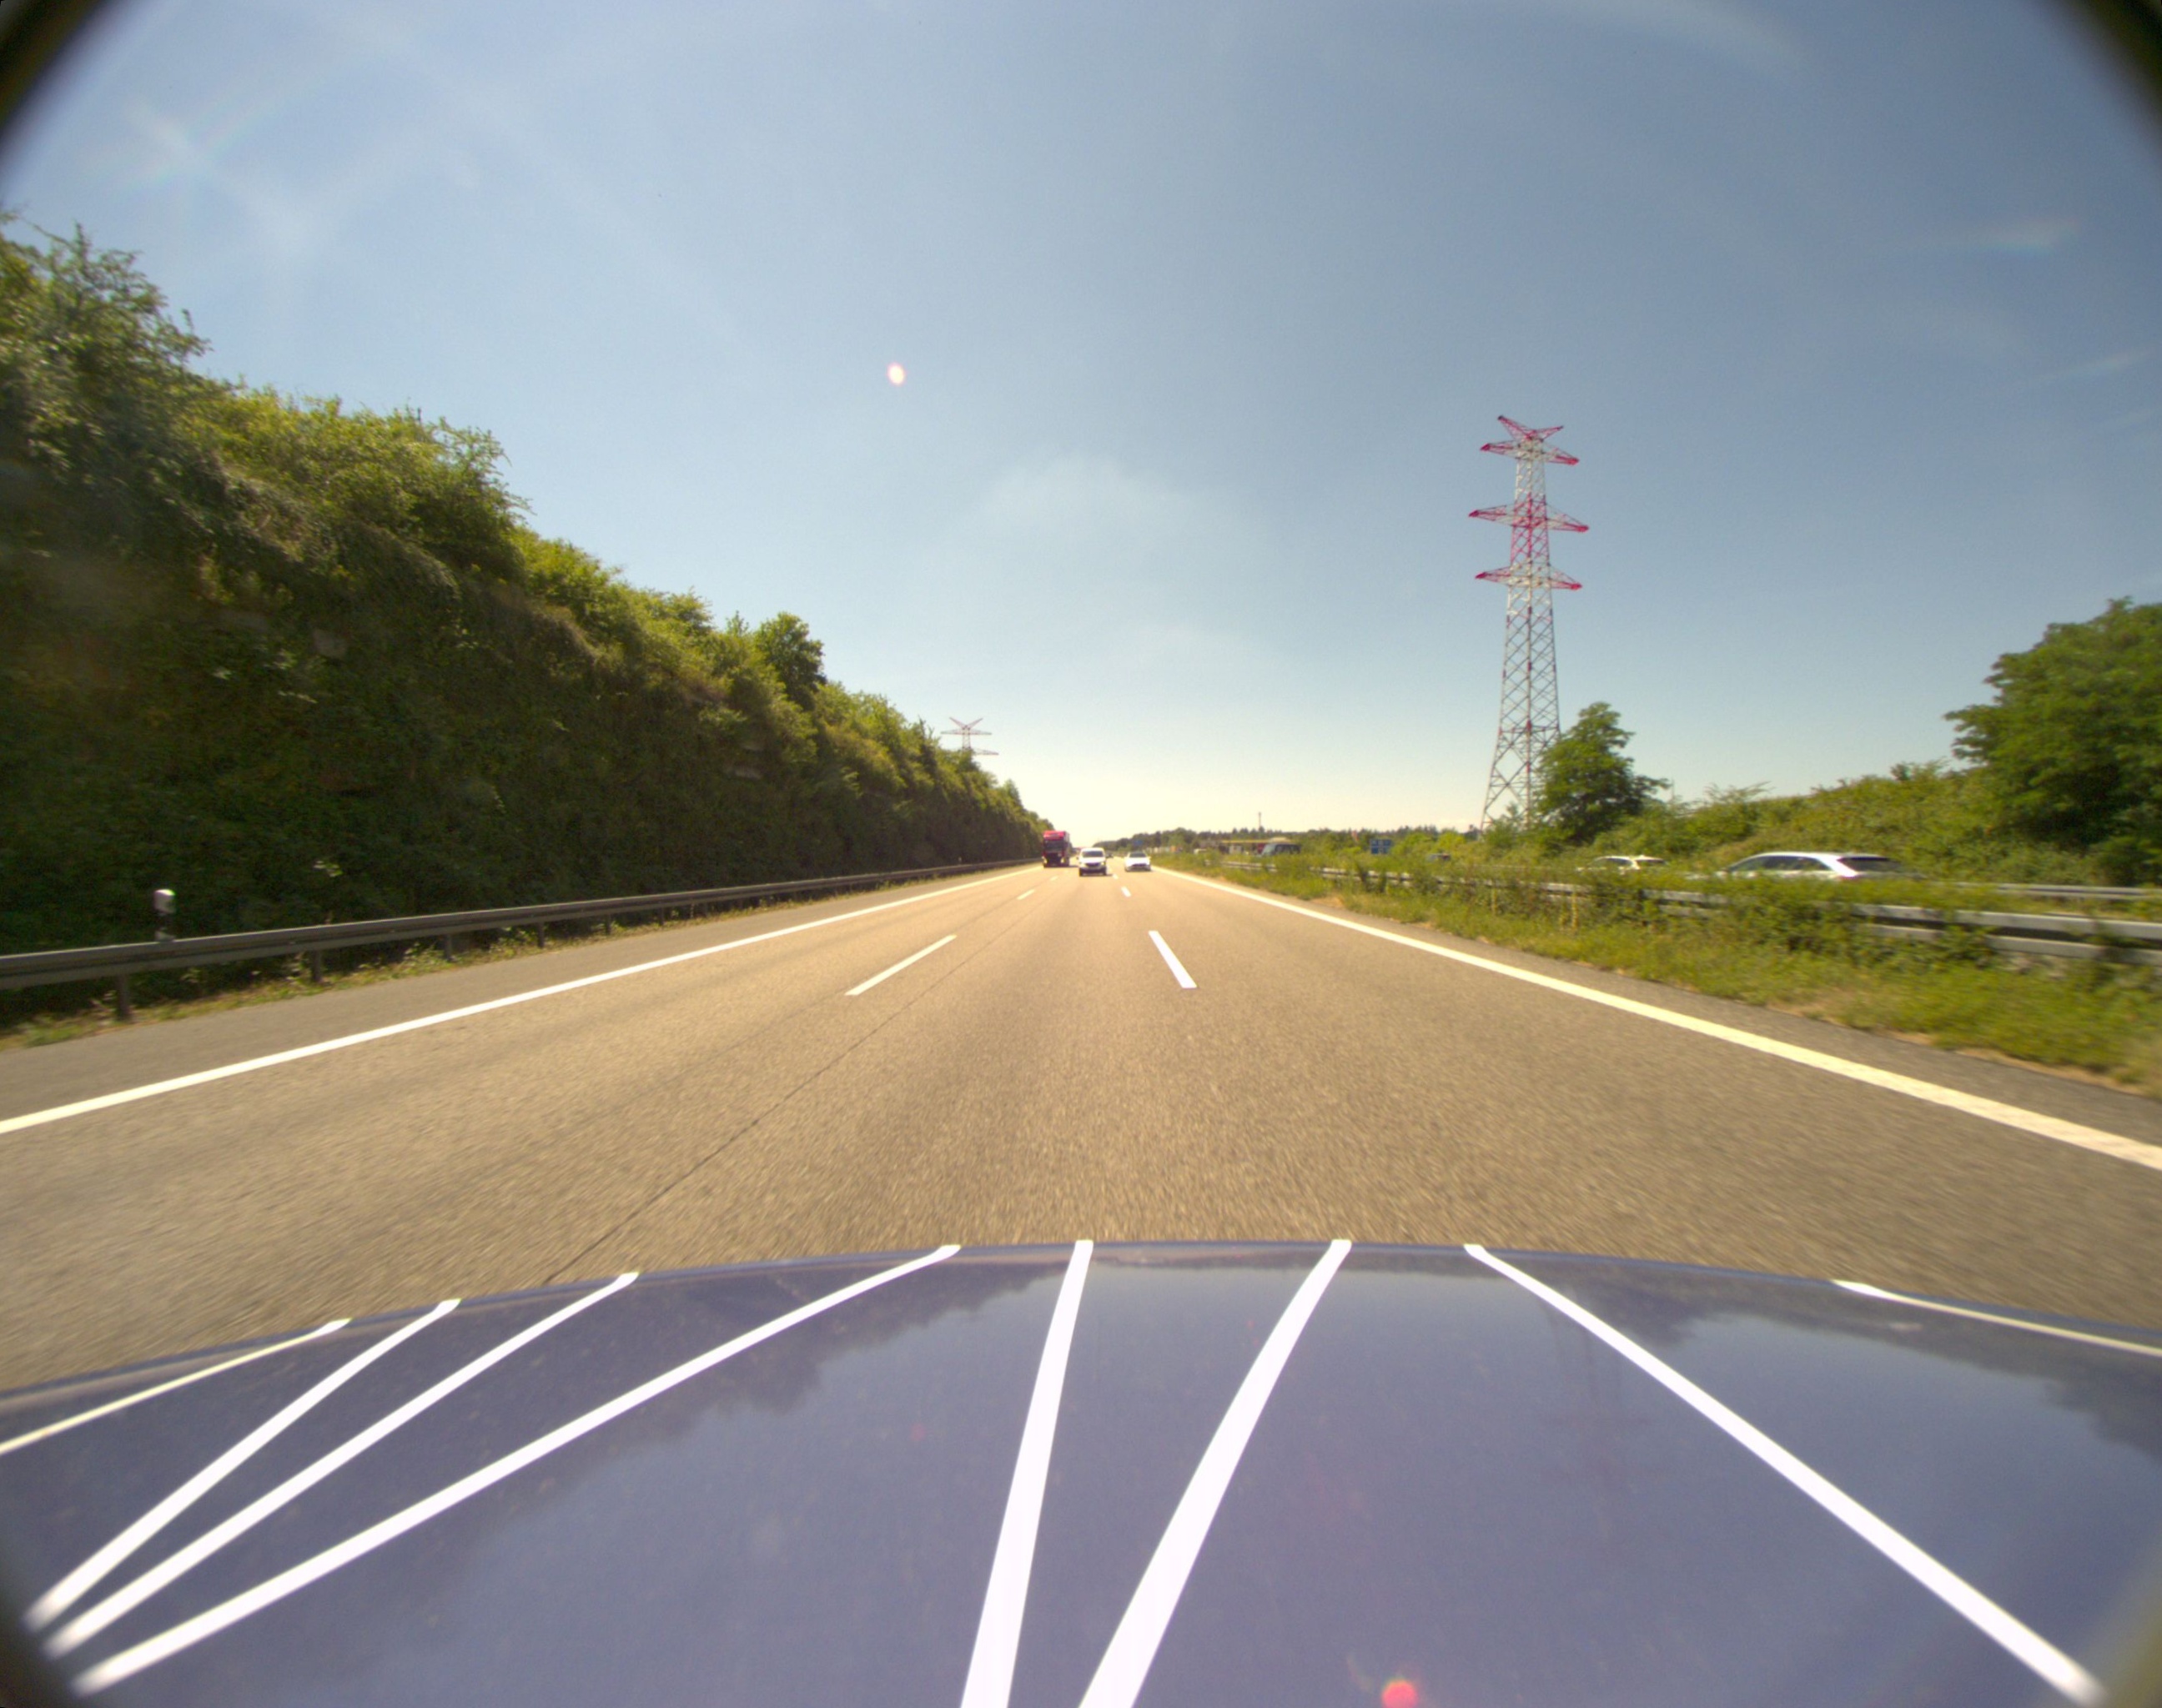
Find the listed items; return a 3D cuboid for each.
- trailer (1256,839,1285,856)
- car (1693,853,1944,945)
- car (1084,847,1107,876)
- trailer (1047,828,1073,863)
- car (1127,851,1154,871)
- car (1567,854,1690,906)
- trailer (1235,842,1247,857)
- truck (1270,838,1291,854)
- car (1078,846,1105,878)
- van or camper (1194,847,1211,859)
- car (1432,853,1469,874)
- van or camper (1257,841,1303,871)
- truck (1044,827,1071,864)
[{"bbox_3d":[48.965,-1.795,196.066,3.123,4.032,11.334,-2,0,35],"label":"trailer"},{"bbox_3d":[16.480,0.900,17.334,1.704,1.758,4.235,-3,0,3],"label":"car"},{"bbox_3d":[0.922,0.464,49.355,1.413,1.795,3.200,-3,0,0],"label":"car"},{"bbox_3d":[-2.453,-0.989,91.718,2.496,3.887,14.245,-2,0,1],"label":"trailer"},{"bbox_3d":[4.457,0.524,57.168,1.775,1.410,3.401,-3,0,1],"label":"car"},{"bbox_3d":[21.553,0.962,30.153,1.808,1.826,4.257,-3,0,1],"label":"car"},{"bbox_3d":[54.987,-1.539,260.780,3.306,4.846,9.693,-2,0,16],"label":"trailer"},{"bbox_3d":[53.062,-2.032,201.871,3.119,4.026,6.658,-2,1,35],"label":"truck"},{"bbox_3d":[0.637,0.470,45.887,1.501,1.799,3.394,-3,0,0],"label":"car"},{"bbox_3d":[20.159,-0.159,126.057,2.131,1.845,5.311,1,0,1],"label":"van or camper"},{"bbox_3d":[30.186,0.738,62.215,1.377,1.604,3.364,-3,0,1],"label":"car"},{"bbox_3d":[13.335,0.123,51.130,1.849,1.802,4.874,-3,0,1],"label":"van or camper"},{"bbox_3d":[-2.549,-0.943,84.092,2.505,3.897,7.096,-2,0,1],"label":"truck"}]
